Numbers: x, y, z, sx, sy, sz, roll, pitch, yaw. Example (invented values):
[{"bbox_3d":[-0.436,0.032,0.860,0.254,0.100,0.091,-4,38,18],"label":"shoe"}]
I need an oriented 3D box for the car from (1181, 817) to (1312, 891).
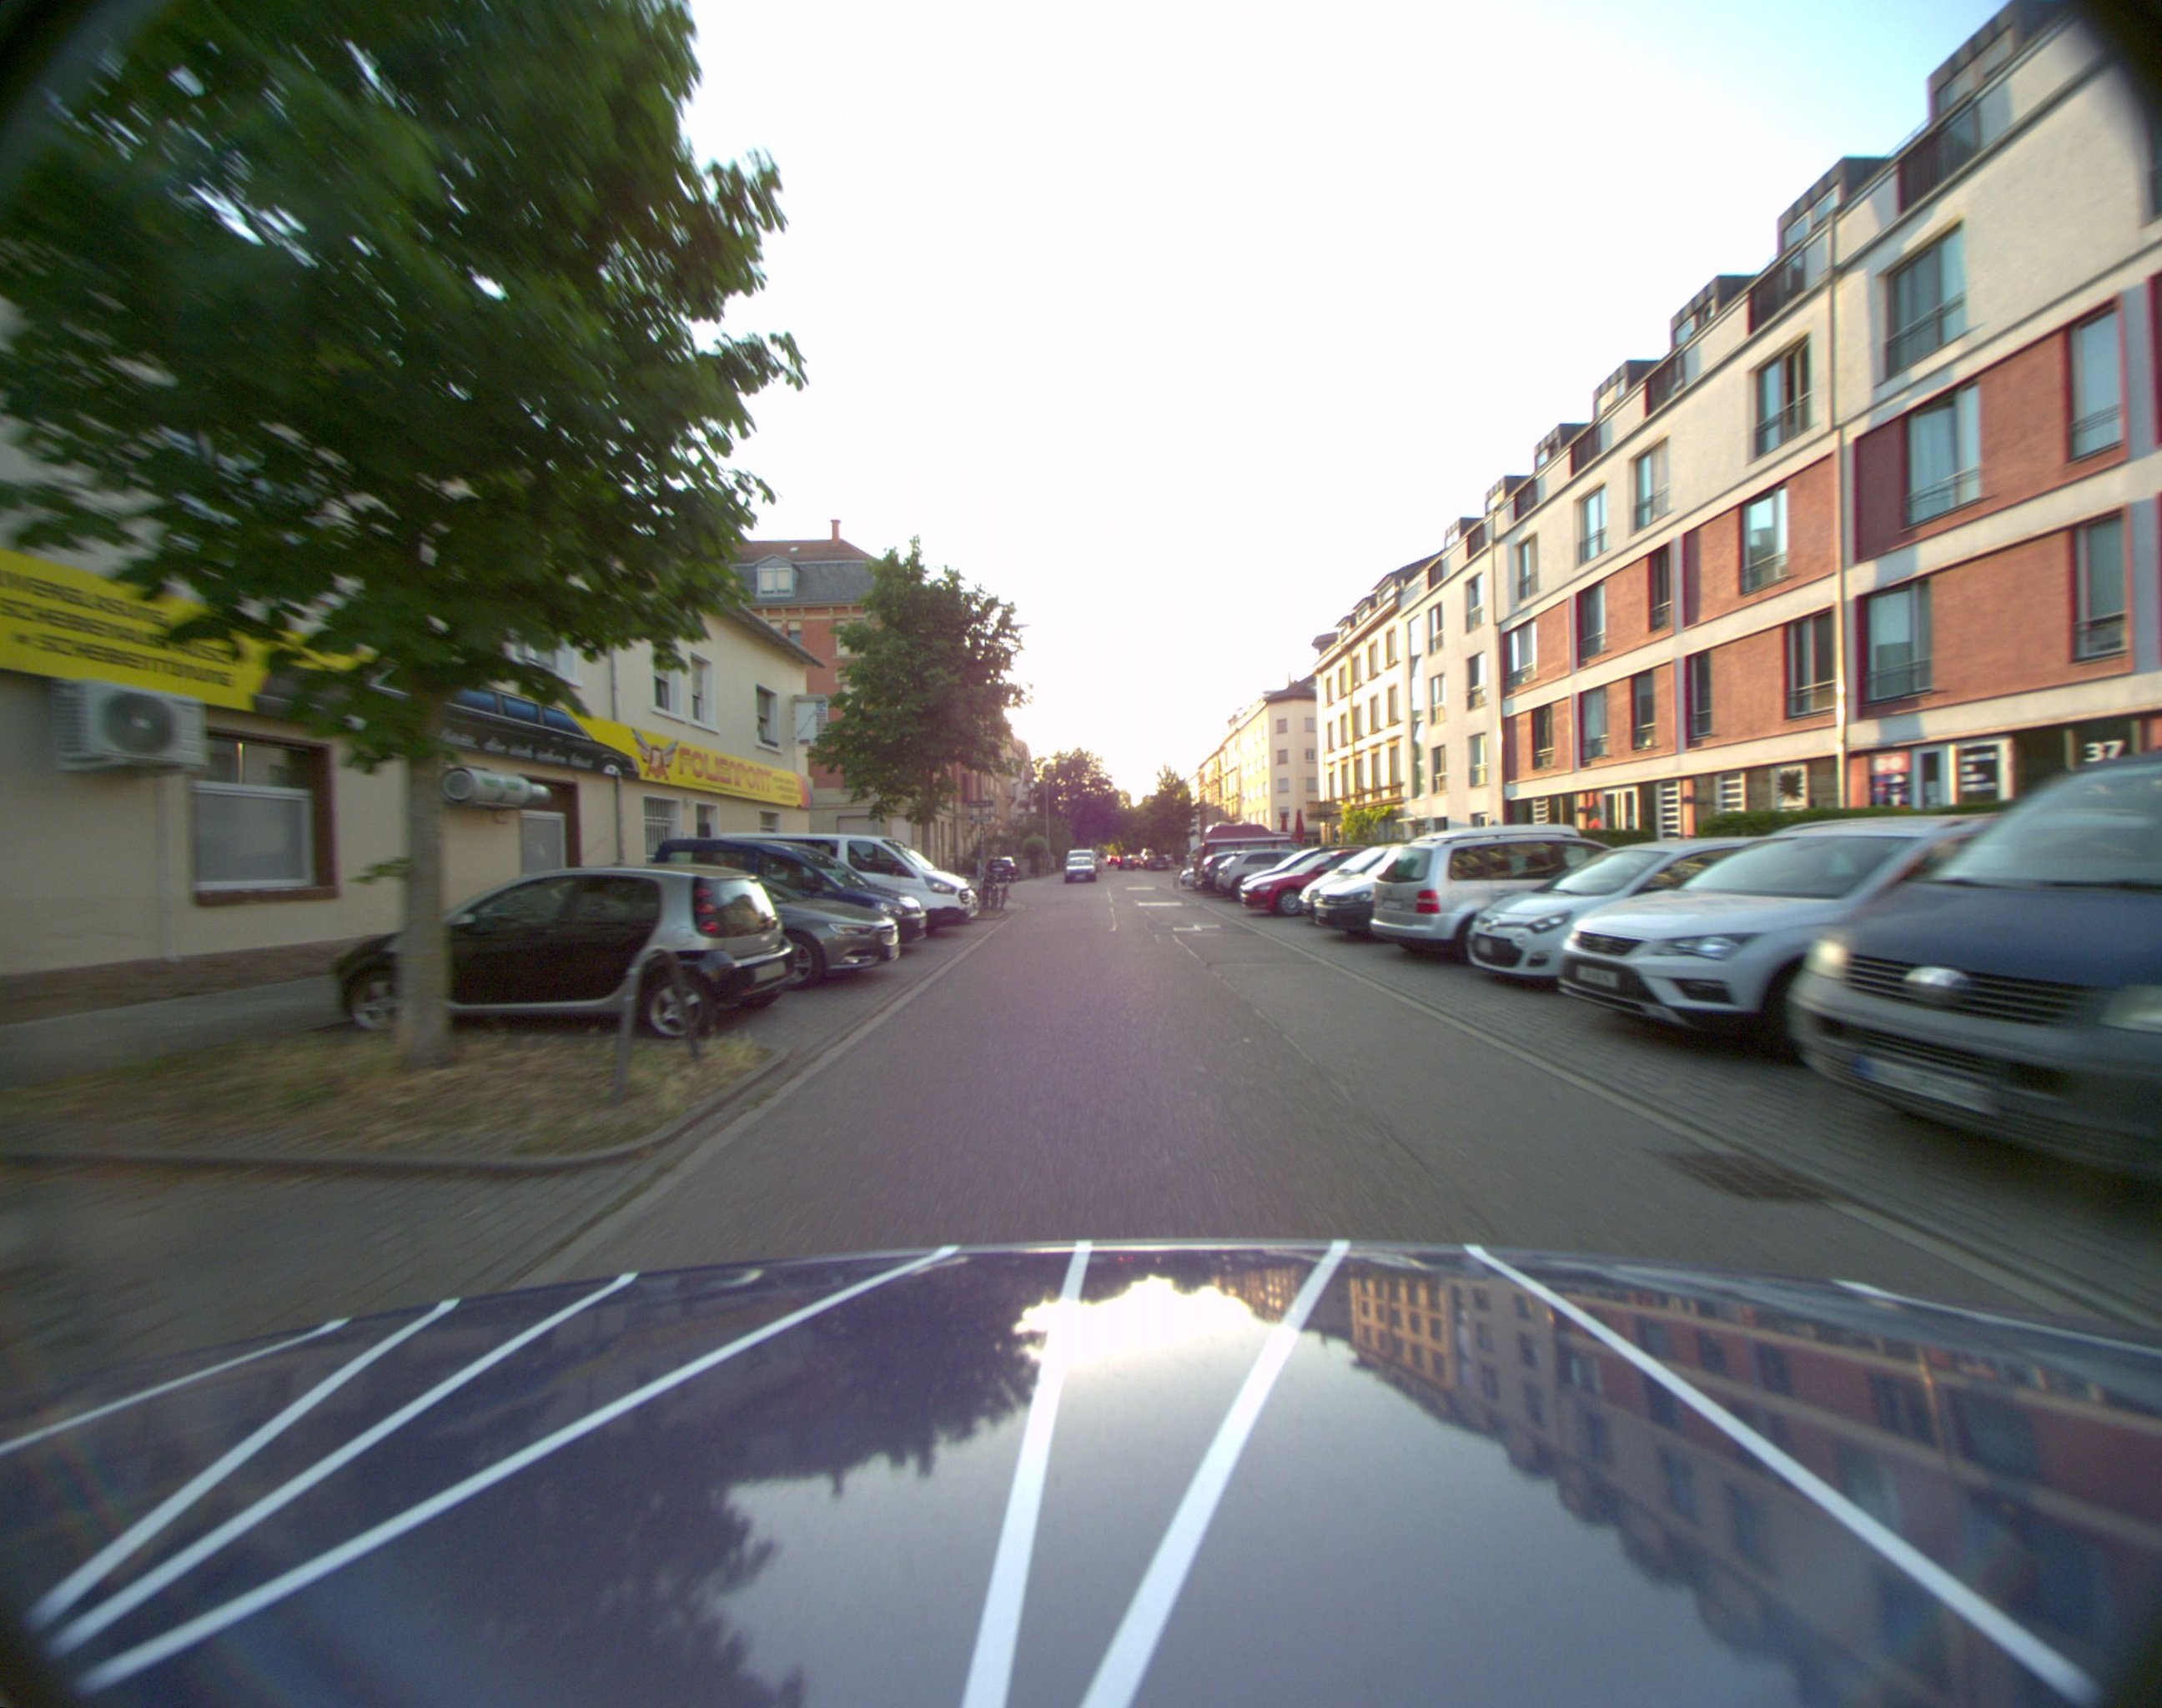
[{"bbox_3d":[6.076,0.005,28.285,4.412,2.542,1.932,-2,1,2],"label":"car"}]

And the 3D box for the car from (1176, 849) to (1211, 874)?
[{"bbox_3d":[7.437,0.451,50.439,1.597,1.513,3.737,-3,1,-1],"label":"car"}]

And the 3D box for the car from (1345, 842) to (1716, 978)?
[{"bbox_3d":[6.016,0.668,10.468,4.000,1.579,2.052,-1,0,-8],"label":"car"}]

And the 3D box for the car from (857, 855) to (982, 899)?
[{"bbox_3d":[-5.691,0.790,27.074,3.995,1.482,1.805,0,0,5],"label":"car"}]

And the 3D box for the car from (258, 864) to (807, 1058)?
[{"bbox_3d":[-4.731,0.882,6.991,3.795,1.488,1.680,1,1,-1],"label":"car"}]

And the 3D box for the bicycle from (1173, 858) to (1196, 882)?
[{"bbox_3d":[4.844,0.737,35.780,0.805,1.047,2.415,-3,0,2],"label":"bicycle"}]

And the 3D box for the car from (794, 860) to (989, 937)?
[{"bbox_3d":[-4.323,0.998,17.774,4.043,1.557,1.721,-2,1,0],"label":"car"}]

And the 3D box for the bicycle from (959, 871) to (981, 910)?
[{"bbox_3d":[-3.198,1.040,21.985,0.357,1.018,1.827,-2,1,-1],"label":"bicycle"}]

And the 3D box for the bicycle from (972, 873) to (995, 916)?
[{"bbox_3d":[-2.547,1.039,19.937,0.357,1.018,1.784,-2,1,-1],"label":"bicycle"}]

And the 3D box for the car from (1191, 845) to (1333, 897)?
[{"bbox_3d":[6.017,0.550,25.567,4.347,1.515,1.705,-2,1,0],"label":"car"}]

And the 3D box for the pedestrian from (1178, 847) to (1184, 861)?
[{"bbox_3d":[11.051,0.003,83.901,0.645,1.525,0.638,-2,1,3],"label":"pedestrian"}]

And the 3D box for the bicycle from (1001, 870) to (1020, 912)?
[{"bbox_3d":[-2.024,1.052,22.016,0.357,1.093,1.971,-2,1,-1],"label":"bicycle"}]

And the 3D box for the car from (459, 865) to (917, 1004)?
[{"bbox_3d":[-4.670,0.927,9.613,4.733,1.487,2.000,1,0,-1],"label":"car"}]

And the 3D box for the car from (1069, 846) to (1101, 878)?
[{"bbox_3d":[0.215,0.487,49.289,1.939,1.893,4.054,-2,1,-1],"label":"car"}]

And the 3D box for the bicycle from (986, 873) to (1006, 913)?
[{"bbox_3d":[-2.461,1.103,22.021,0.357,1.018,1.971,-2,1,-1],"label":"bicycle"}]

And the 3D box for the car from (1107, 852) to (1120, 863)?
[{"bbox_3d":[4.945,0.535,116.016,1.890,1.513,4.000,-1,0,1],"label":"car"}]

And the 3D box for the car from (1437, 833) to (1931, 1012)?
[{"bbox_3d":[6.315,0.656,8.291,3.998,1.608,1.797,-2,1,-2],"label":"car"}]

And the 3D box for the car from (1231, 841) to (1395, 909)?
[{"bbox_3d":[6.202,0.544,20.639,3.895,1.608,1.700,-2,1,3],"label":"car"}]

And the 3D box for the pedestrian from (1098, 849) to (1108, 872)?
[{"bbox_3d":[1.526,0.423,52.549,0.600,1.565,0.639,-2,1,-5],"label":"pedestrian"}]

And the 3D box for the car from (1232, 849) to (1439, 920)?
[{"bbox_3d":[5.880,0.684,17.950,4.273,1.485,1.788,-2,1,1],"label":"car"}]

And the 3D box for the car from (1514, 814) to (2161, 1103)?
[{"bbox_3d":[5.883,0.631,5.665,4.196,1.713,1.902,-2,1,0],"label":"car"}]

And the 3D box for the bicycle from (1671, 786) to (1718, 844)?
[{"bbox_3d":[14.694,-0.899,18.236,0.513,1.306,1.819,-1,1,27],"label":"bicycle"}]

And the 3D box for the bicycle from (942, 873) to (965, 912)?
[{"bbox_3d":[-3.664,1.079,21.916,0.357,1.018,1.784,-2,1,-1],"label":"bicycle"}]

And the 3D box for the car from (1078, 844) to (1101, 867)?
[{"bbox_3d":[0.749,0.114,69.506,1.999,2.002,3.999,-2,1,-1],"label":"car"}]

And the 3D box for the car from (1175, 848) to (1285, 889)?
[{"bbox_3d":[5.982,0.552,30.800,3.989,1.408,1.803,-3,1,-6],"label":"car"}]

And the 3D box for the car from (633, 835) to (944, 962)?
[{"bbox_3d":[-4.618,0.664,12.458,4.301,1.847,2.000,1,1,3],"label":"car"}]

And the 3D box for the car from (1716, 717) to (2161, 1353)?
[{"bbox_3d":[5.929,0.510,3.114,4.866,2.043,2.000,-2,1,3],"label":"car"}]

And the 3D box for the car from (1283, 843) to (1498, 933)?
[{"bbox_3d":[6.088,0.631,15.243,3.540,1.554,1.784,-2,1,-1],"label":"car"}]

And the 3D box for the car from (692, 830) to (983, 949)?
[{"bbox_3d":[-4.670,0.647,15.108,4.971,2.089,2.151,-2,2,4],"label":"car"}]

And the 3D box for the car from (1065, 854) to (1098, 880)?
[{"bbox_3d":[0.002,0.715,43.460,1.733,1.367,3.762,-2,0,-1],"label":"car"}]

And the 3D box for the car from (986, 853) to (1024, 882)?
[{"bbox_3d":[-4.346,0.744,43.865,1.800,1.515,3.999,-2,1,-1],"label":"car"}]

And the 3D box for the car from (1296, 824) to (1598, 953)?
[{"bbox_3d":[6.040,0.528,12.882,4.189,1.884,1.897,-2,1,-3],"label":"car"}]

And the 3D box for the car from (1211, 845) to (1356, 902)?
[{"bbox_3d":[6.091,0.577,23.241,3.958,1.531,1.755,-2,1,3],"label":"car"}]

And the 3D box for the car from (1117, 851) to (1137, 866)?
[{"bbox_3d":[4.648,0.416,76.835,1.762,1.478,3.783,0,0,-1],"label":"car"}]
